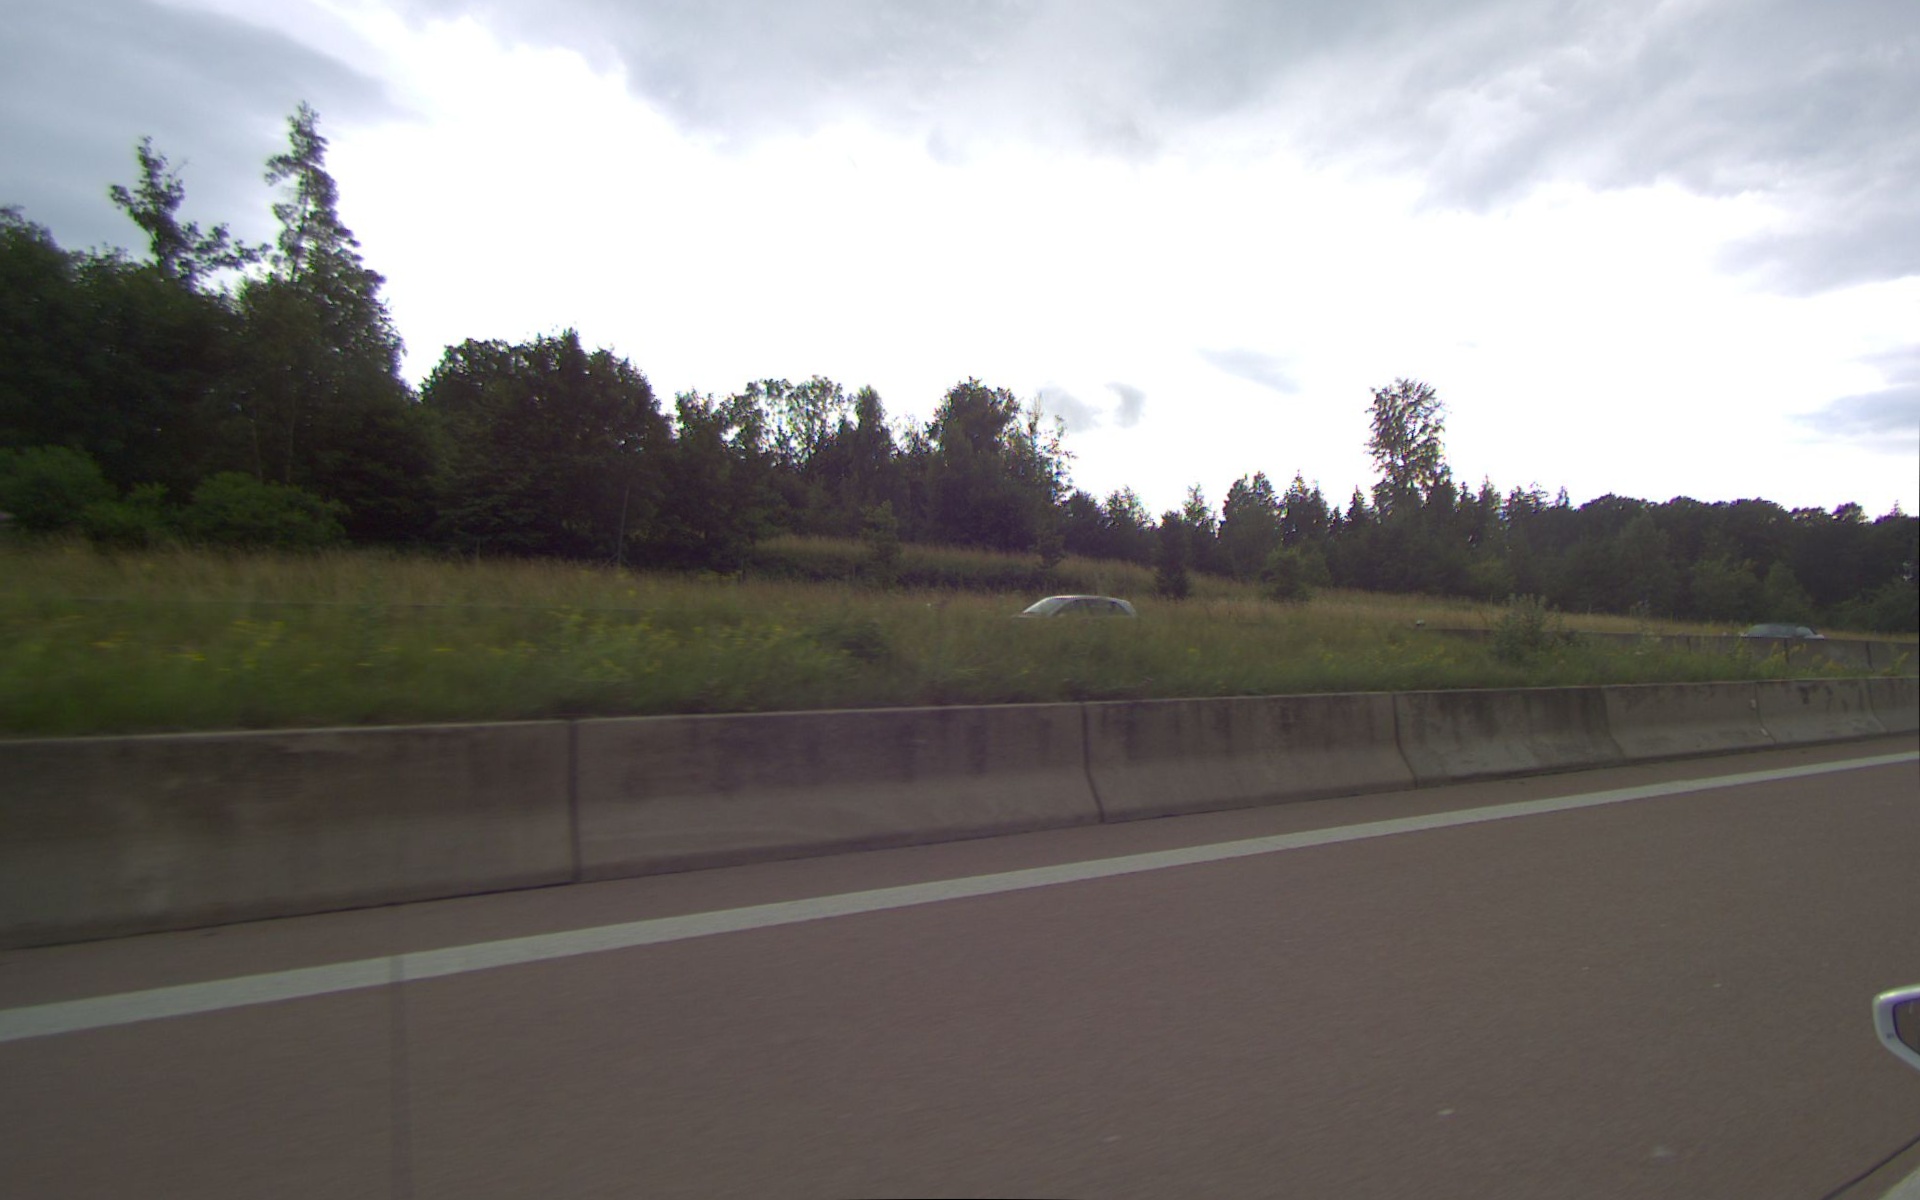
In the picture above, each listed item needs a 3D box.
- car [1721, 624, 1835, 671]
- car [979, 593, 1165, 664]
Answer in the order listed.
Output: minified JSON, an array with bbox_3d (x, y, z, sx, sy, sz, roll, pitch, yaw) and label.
[{"bbox_3d":[29.979,1.755,36.803,4.359,1.545,1.725,3,-1,-29],"label":"car"},{"bbox_3d":[2.801,0.714,24.886,4.359,1.545,1.725,3,-1,-29],"label":"car"}]
